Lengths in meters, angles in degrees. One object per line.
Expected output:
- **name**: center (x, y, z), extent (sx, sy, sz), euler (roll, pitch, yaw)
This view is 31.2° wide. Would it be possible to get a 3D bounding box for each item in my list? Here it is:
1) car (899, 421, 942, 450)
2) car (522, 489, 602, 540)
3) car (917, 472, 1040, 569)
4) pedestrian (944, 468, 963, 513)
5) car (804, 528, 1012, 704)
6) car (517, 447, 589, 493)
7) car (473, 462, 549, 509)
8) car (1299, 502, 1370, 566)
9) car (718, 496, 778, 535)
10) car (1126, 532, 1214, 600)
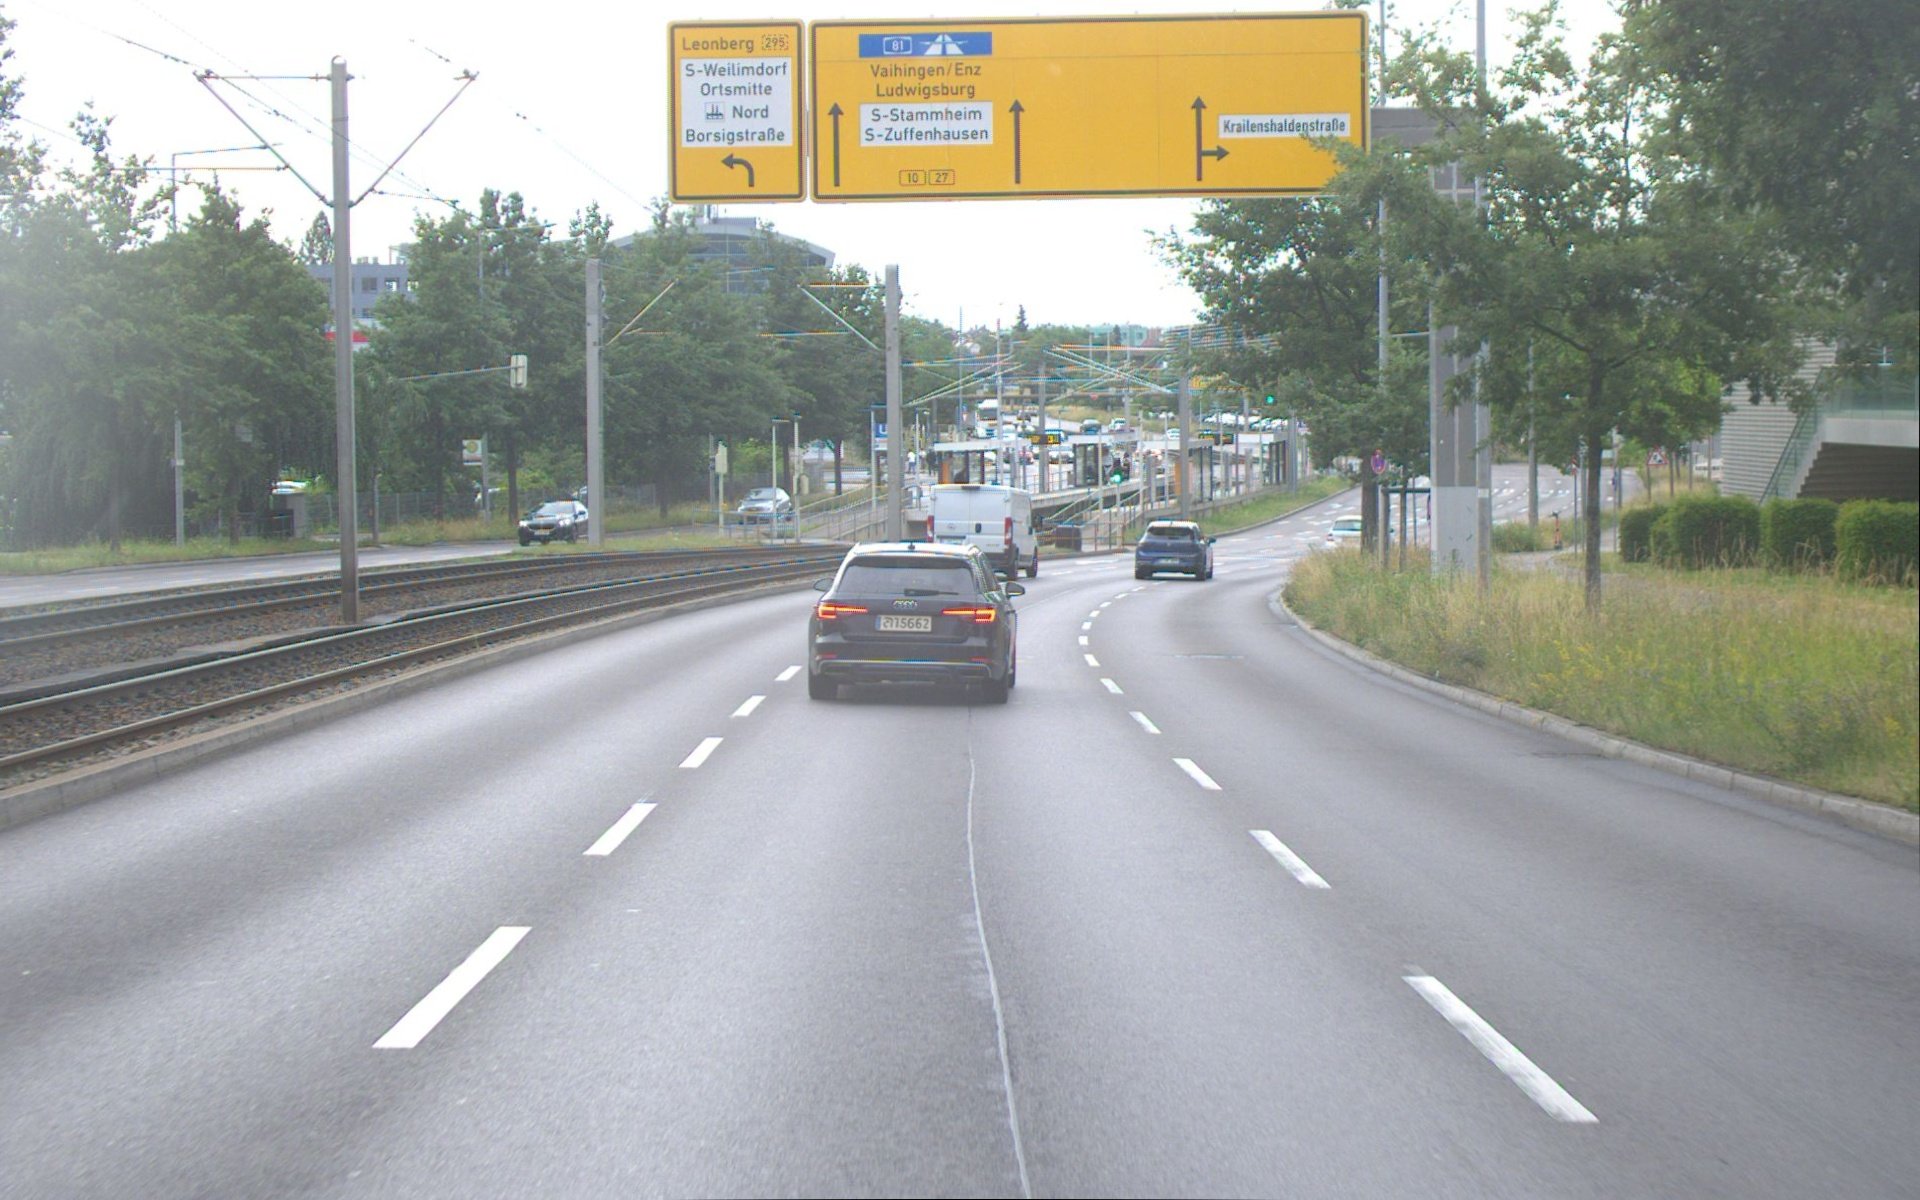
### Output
- **car**: center (-3.016, -12.414, 260.306), extent (1.993, 2.007, 4.001), euler (1, 0, -19)
- **car**: center (-12.856, -2.791, 111.301), extent (1.883, 1.515, 4.403), euler (-3, 2, 2)
- **car**: center (0.479, -1.862, 82.096), extent (2.511, 2.169, 5.148), euler (2, 0, 4)
- **pedestrian**: center (-0.266, -4.642, 145.842), extent (0.637, 1.848, 0.750), euler (2, 0, 11)
- **car**: center (-0.434, 0.089, 32.015), extent (1.764, 1.458, 4.627), euler (2, 1, 0)
- **car**: center (-18.923, -6.034, 159.969), extent (1.995, 2.007, 3.997), euler (2, 1, 14)
- **car**: center (-20.183, -5.132, 154.808), extent (1.995, 2.007, 3.997), euler (2, 1, 14)
- **car**: center (11.679, -2.065, 106.979), extent (2.022, 1.763, 4.000), euler (1, 4, 8)
- **car**: center (-9.644, -3.863, 156.868), extent (1.994, 1.674, 3.999), euler (2, 2, 7)
- **car**: center (5.302, -0.836, 86.403), extent (2.021, 1.617, 3.999), euler (2, 0, 5)
